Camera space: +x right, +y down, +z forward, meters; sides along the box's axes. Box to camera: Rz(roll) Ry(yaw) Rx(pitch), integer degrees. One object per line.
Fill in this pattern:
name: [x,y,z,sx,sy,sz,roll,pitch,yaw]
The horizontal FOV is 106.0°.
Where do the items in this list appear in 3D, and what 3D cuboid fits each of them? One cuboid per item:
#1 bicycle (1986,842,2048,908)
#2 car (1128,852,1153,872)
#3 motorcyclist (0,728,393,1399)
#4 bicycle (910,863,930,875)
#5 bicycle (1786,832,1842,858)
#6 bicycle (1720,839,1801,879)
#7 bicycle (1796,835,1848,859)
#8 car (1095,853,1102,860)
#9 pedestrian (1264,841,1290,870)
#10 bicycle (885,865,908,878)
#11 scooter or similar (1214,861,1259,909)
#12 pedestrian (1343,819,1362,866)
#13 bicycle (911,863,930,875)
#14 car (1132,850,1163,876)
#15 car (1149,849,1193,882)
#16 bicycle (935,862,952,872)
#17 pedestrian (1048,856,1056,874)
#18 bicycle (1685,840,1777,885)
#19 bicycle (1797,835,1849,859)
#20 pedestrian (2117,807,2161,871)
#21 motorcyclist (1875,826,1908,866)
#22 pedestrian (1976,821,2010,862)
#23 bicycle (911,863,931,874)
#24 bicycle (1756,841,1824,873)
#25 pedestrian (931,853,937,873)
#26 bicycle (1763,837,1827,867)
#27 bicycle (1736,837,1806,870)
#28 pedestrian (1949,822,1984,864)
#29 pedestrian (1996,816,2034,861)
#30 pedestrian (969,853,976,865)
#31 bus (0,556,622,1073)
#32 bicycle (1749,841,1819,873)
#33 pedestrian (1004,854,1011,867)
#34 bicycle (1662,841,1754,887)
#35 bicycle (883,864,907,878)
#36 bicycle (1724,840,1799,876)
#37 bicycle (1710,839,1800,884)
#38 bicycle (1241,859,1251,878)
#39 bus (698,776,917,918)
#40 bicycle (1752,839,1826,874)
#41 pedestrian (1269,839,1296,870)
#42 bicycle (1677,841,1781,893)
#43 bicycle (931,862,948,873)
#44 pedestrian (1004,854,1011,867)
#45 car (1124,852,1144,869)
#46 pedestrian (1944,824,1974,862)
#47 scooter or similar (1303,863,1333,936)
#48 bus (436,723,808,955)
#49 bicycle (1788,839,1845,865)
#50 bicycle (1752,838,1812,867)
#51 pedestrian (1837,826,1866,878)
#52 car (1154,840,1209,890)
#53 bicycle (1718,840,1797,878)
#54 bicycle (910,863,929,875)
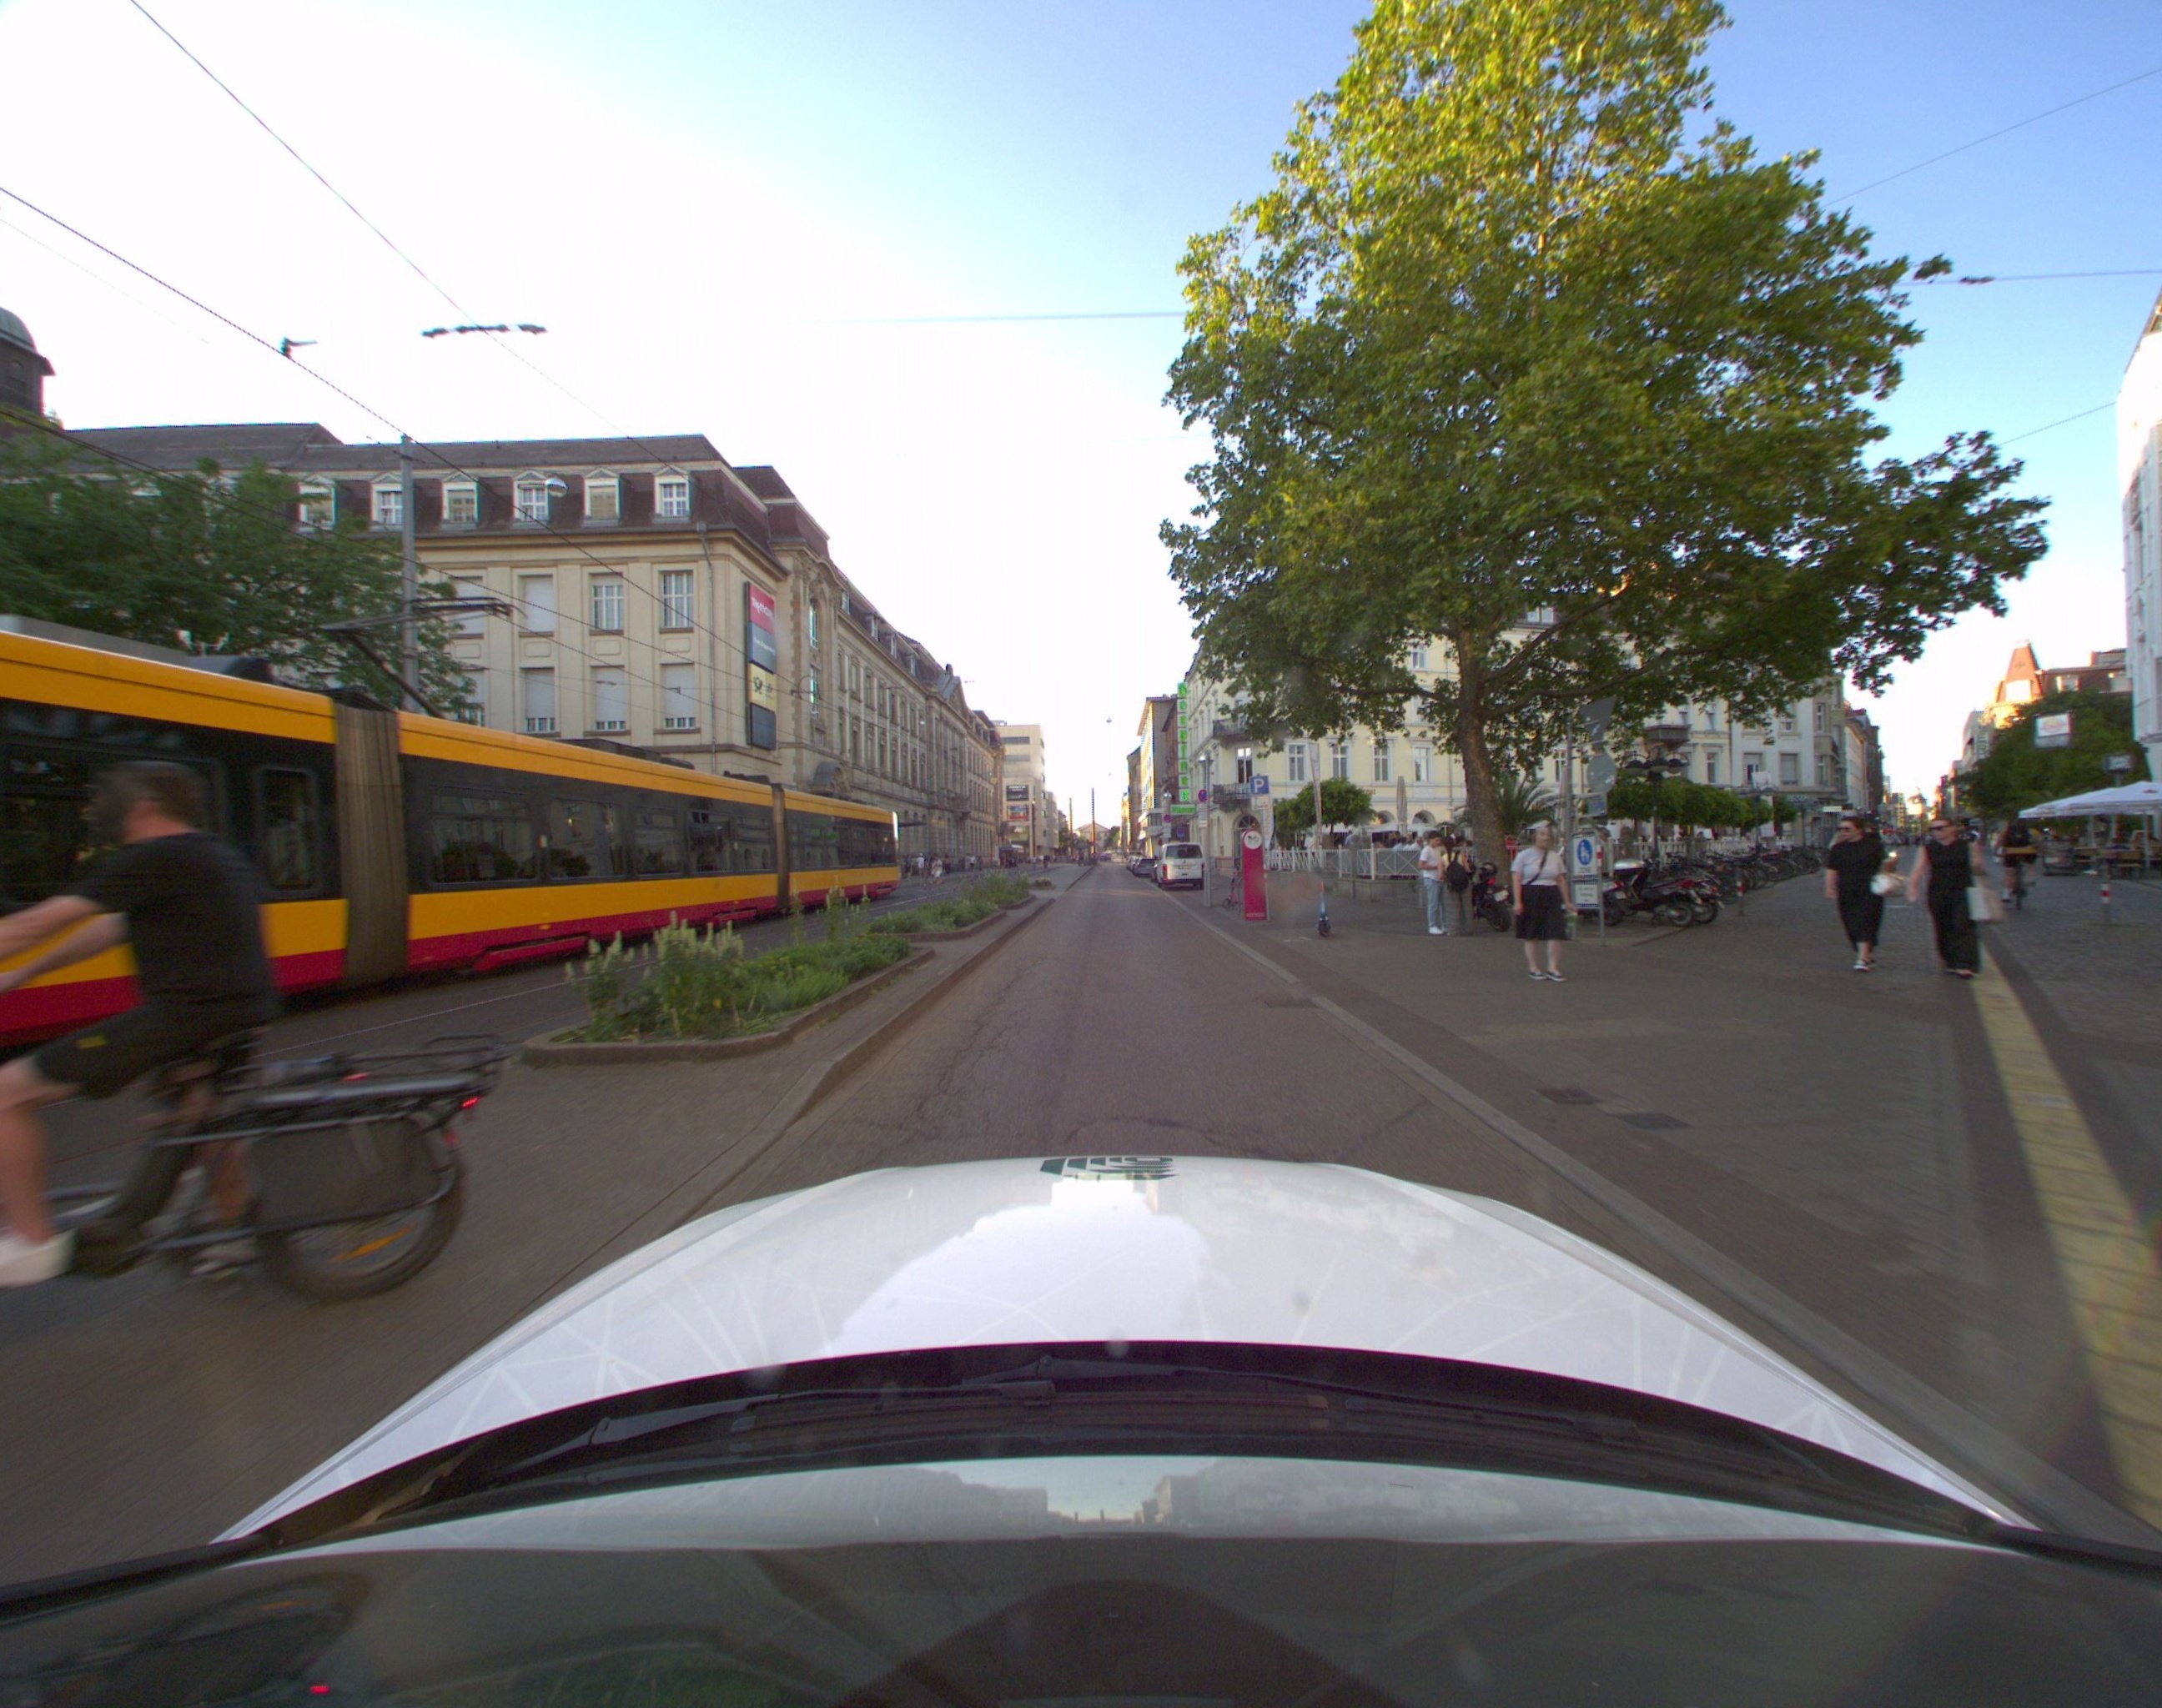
bicycle: [18.190,0.392,15.857,2.209,1.212,0.644,0,-1,-44]
car: [5.278,0.753,73.068,1.986,1.667,4.422,-2,-2,2]
motorcyclist: [-3.072,0.577,2.682,1.007,1.813,0.951,-1,-2,-25]
bicycle: [-13.440,1.226,67.945,1.582,0.949,0.358,-1,-2,-9]
bicycle: [38.128,-0.477,42.402,2.089,1.291,0.445,-1,0,36]
bicycle: [23.034,0.170,27.649,2.089,1.291,0.445,-1,0,36]
bicycle: [41.241,-0.398,45.363,2.089,1.291,0.445,-1,0,36]
car: [4.695,0.709,217.588,1.754,1.827,3.571,-2,-2,2]
pedestrian: [8.893,0.078,37.017,0.899,1.306,0.967,-2,-2,1]
bicycle: [-13.450,1.268,59.268,1.583,0.949,0.358,-1,-2,-11]
scooter or similar: [4.216,0.838,22.114,1.120,1.216,0.300,-3,-1,2]
pedestrian: [13.561,-0.554,40.717,0.614,2.304,0.577,-1,-2,-20]
bicycle: [-13.469,1.226,68.347,1.583,0.949,0.358,-1,-2,-11]
car: [4.885,0.658,60.123,1.986,1.761,4.422,-2,-1,2]
car: [4.878,0.607,44.743,1.986,1.667,4.422,-2,-1,2]
bicycle: [-12.899,1.240,76.470,1.583,0.949,0.358,-1,-1,-11]
pedestrian: [-2.721,1.025,76.570,0.670,1.636,0.761,-1,0,-6]
bicycle: [19.251,0.230,24.177,0.444,1.291,2.095,-3,2,-34]
bicycle: [41.248,-0.384,45.319,2.089,1.291,0.445,-1,0,36]
pedestrian: [30.372,-0.422,23.304,0.621,1.787,0.573,-1,-2,-7]
motorcyclist: [30.034,-0.286,30.185,0.592,1.441,0.606,-2,-2,17]
pedestrian: [41.662,-0.547,37.215,0.741,1.810,0.767,-3,-2,27]
bicycle: [-13.513,1.229,68.782,1.583,0.949,0.358,-1,-2,-11]
bicycle: [29.978,0.129,34.471,2.089,1.291,0.445,-1,0,36]
pedestrian: [-12.844,0.795,71.217,0.517,1.672,0.480,-1,0,-14]
bicycle: [32.207,-0.080,36.774,2.089,1.291,0.445,-1,0,36]
bicycle: [27.380,-0.005,32.364,2.089,1.291,0.445,-1,0,36]
pedestrian: [39.202,-0.473,36.061,0.666,1.832,0.764,-2,-2,11]
pedestrian: [41.589,-0.668,36.265,0.829,1.969,0.767,-3,-2,29]
pedestrian: [-12.852,0.549,96.205,0.626,1.429,0.712,-1,0,8]
bus: [-9.076,-0.249,4.451,2.811,3.651,17.081,-2,0,2]
bicycle: [28.758,0.130,33.349,2.089,1.291,0.445,-1,0,36]
pedestrian: [-8.964,0.817,99.449,0.773,1.580,0.676,-1,0,-10]
bicycle: [18.236,0.270,23.730,0.444,1.291,2.095,-3,2,-34]
bicycle: [-13.333,1.248,58.369,1.583,0.949,0.358,-1,-2,-11]
bicycle: [25.162,0.166,30.135,2.089,1.291,0.445,-1,1,36]
bicycle: [20.502,0.208,24.820,0.444,1.291,2.095,-2,2,-34]
bicycle: [8.308,0.740,40.935,0.249,0.902,1.374,-2,-2,2]
bus: [-8.339,-0.110,27.159,2.811,3.612,11.828,-2,-1,2]
bicycle: [26.958,0.108,31.048,2.089,1.291,0.445,-1,0,36]
pedestrian: [8.881,0.048,35.931,0.899,1.314,0.967,-2,-2,1]
bicycle: [16.867,0.319,21.253,0.444,1.291,2.095,-2,2,-34]
bicycle: [-12.982,1.272,74.752,1.583,0.949,0.358,-1,-2,-11]
pedestrian: [-9.111,0.836,100.311,0.777,1.580,0.676,-1,0,-10]
car: [5.577,0.683,86.226,1.986,1.667,4.422,-2,-2,2]
pedestrian: [40.041,-0.482,37.146,0.604,1.700,0.595,-2,-2,10]
scooter or similar: [4.231,0.795,14.579,0.313,1.221,1.275,-3,0,9]
bus: [-8.724,-0.217,17.140,2.811,3.625,8.293,-2,0,2]
bicycle: [37.446,-0.093,41.487,2.089,1.291,0.445,-1,0,36]
bicycle: [32.993,-0.055,38.371,2.089,1.291,0.445,-1,0,36]
pedestrian: [24.294,-0.063,25.679,0.606,1.611,0.531,0,-3,-41]
car: [4.287,0.445,35.430,1.908,1.981,4.422,-2,0,2]
bicycle: [23.723,0.172,28.603,2.089,1.291,0.445,-1,0,36]
bicycle: [-13.377,1.217,67.493,1.583,0.949,0.358,-1,-2,-11]
